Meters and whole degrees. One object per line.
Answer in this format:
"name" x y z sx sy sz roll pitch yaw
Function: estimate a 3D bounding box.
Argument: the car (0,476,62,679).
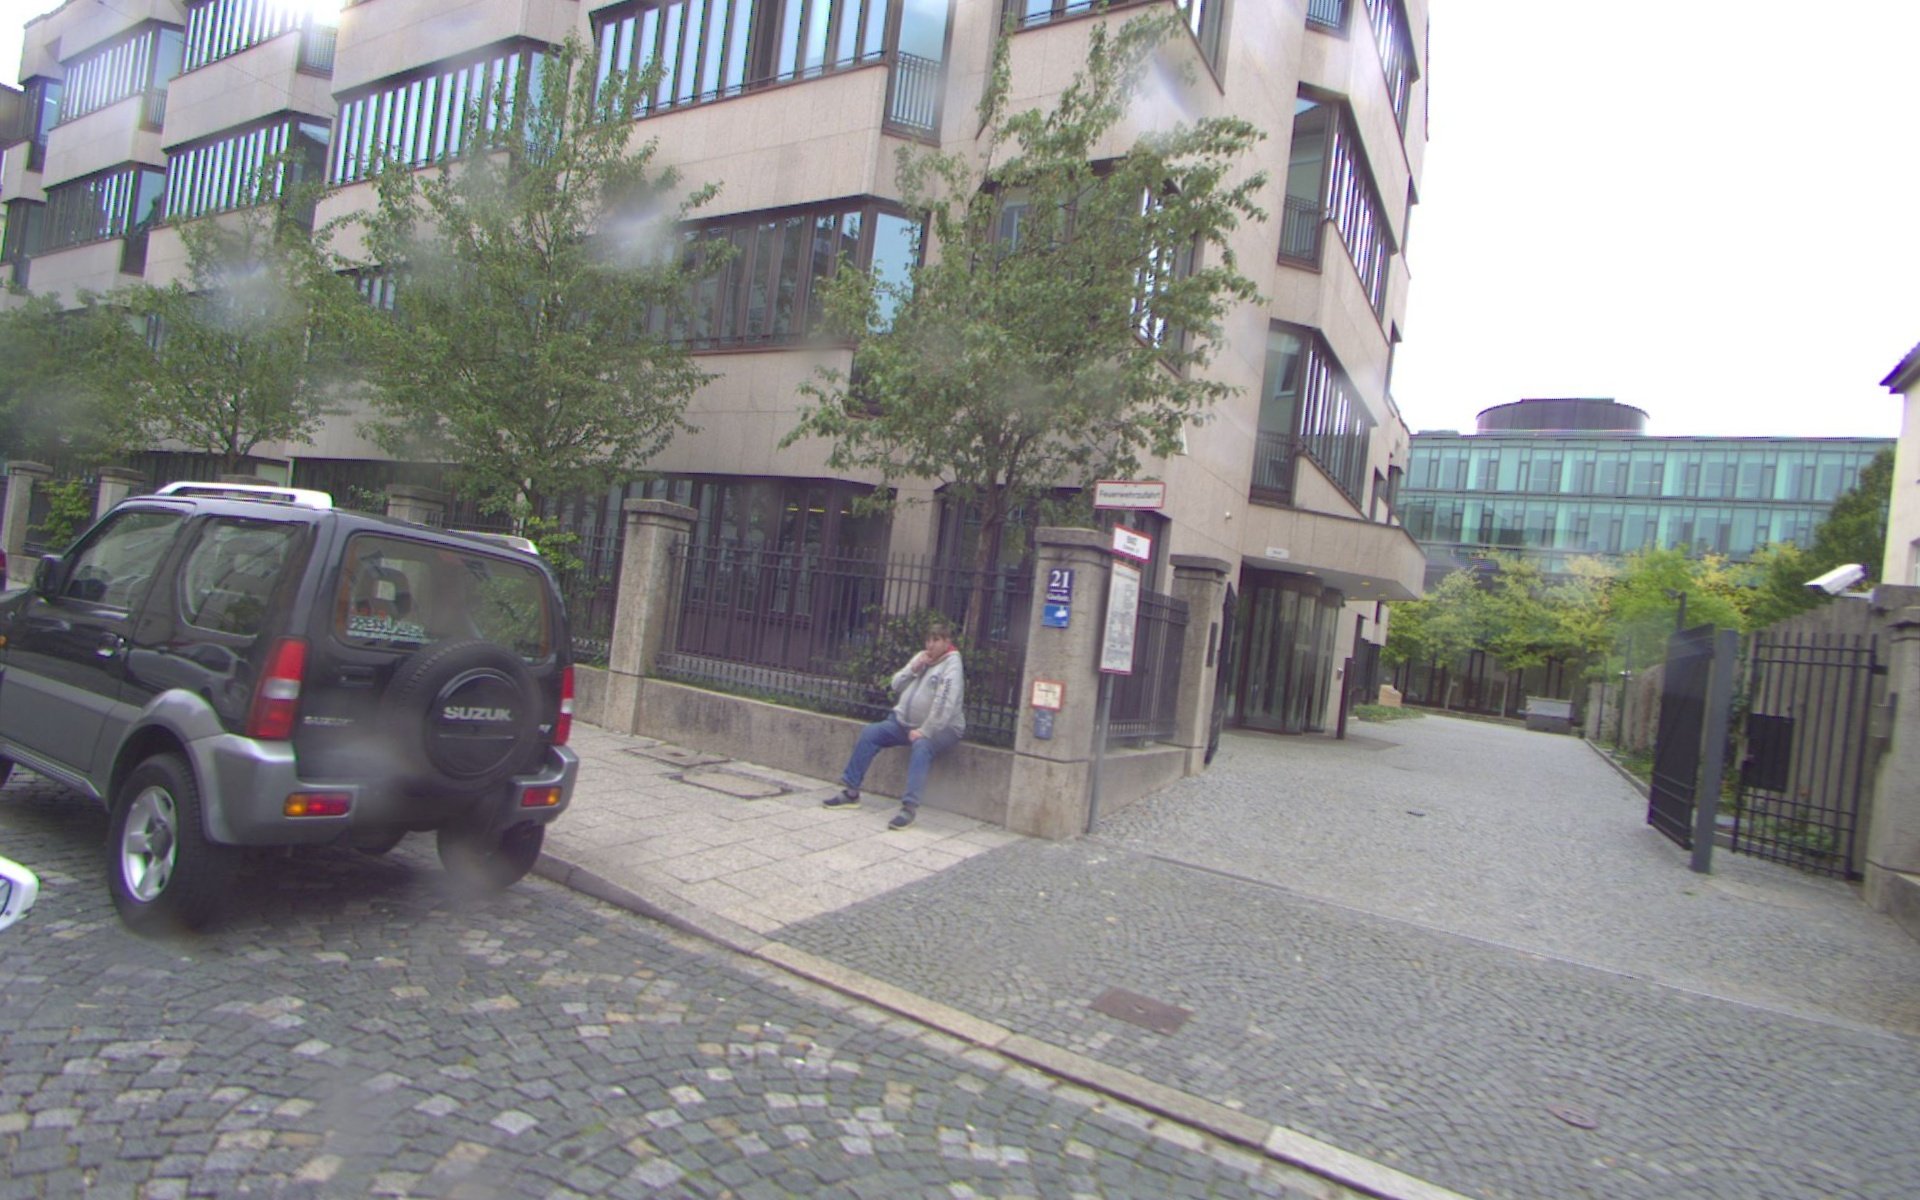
"car" -10.602 -0.522 9.366 4.733 1.720 1.866 7 -4 31

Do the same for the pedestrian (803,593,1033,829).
"pedestrian" -0.300 0.789 7.668 1.111 1.512 1.217 7 2 33

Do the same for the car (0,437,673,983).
"car" -3.529 0.304 5.020 3.821 1.769 1.624 7 -4 30
